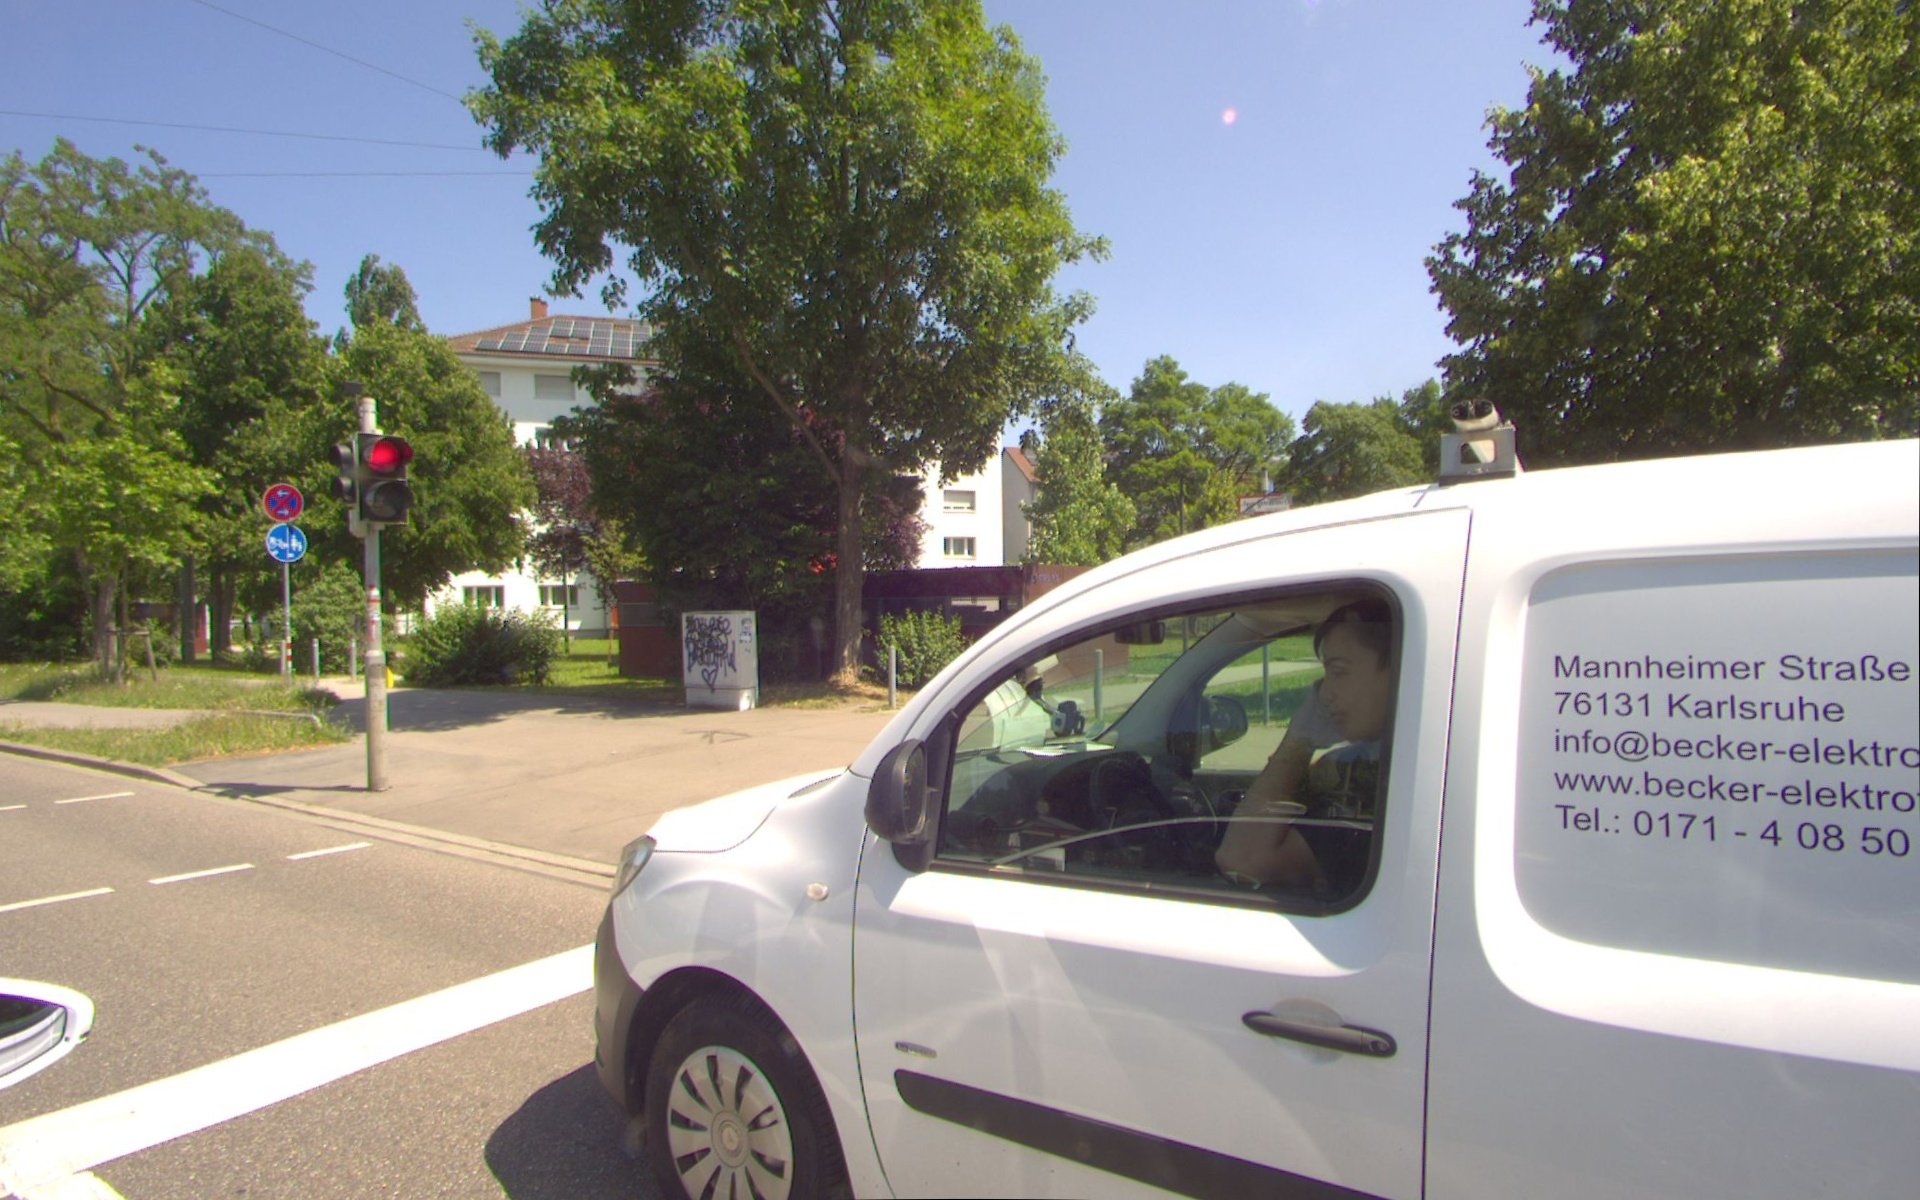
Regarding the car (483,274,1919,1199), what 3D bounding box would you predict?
[{"bbox_3d":[1.120,0.570,2.306,4.384,1.850,1.990,-1,0,32],"label":"car"}]
